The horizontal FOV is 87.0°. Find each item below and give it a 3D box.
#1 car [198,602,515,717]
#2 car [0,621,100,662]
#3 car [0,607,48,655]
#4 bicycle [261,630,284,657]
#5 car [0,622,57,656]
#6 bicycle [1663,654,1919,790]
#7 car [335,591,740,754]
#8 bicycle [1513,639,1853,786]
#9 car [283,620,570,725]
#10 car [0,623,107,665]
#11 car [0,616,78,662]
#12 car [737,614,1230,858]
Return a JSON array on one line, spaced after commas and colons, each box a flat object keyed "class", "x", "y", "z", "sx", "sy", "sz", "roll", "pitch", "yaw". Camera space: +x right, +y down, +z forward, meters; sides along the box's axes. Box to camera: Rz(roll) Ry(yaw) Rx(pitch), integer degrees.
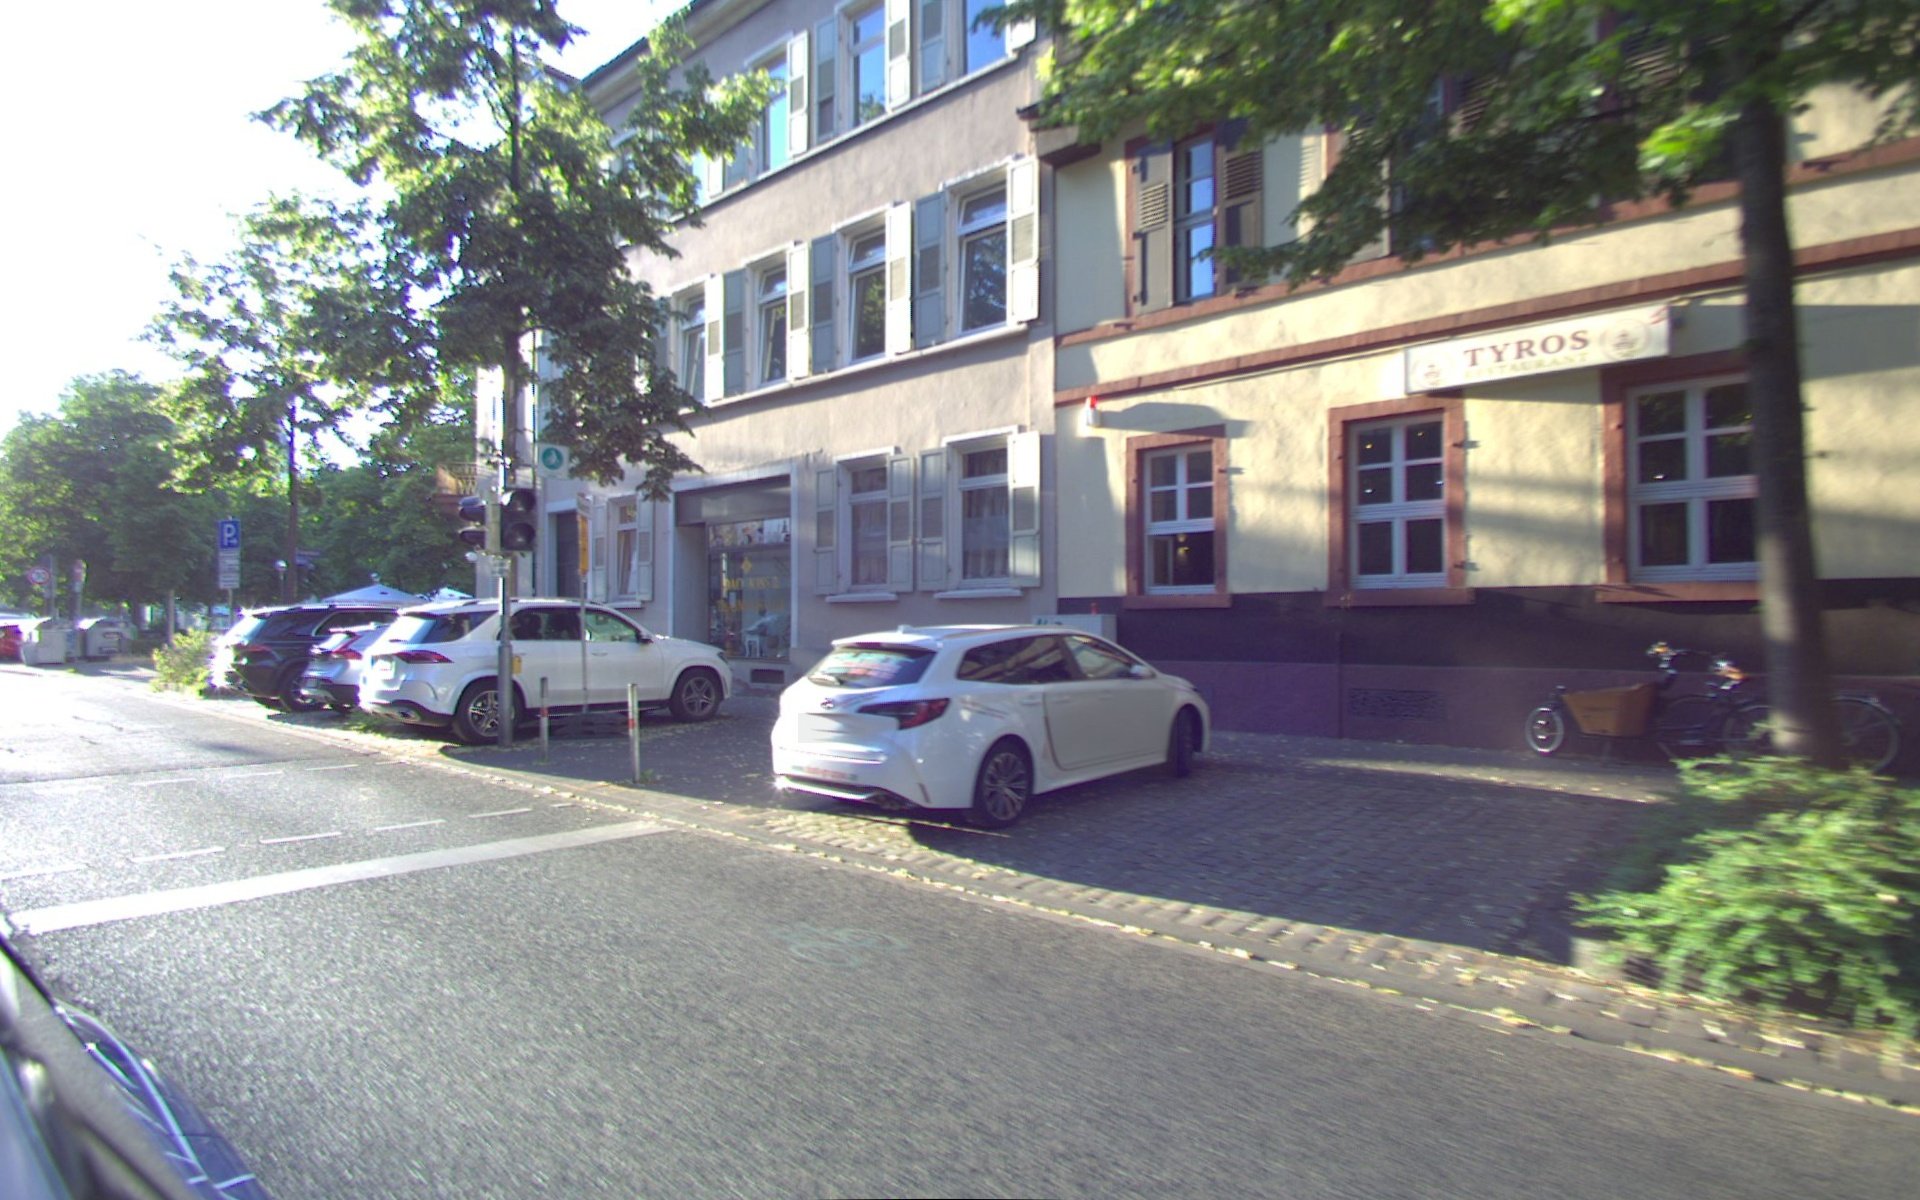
[{"class": "car", "x": -10.673, "y": 0.972, "z": 18.200, "sx": 1.945, "sy": 1.796, "sz": 4.509, "roll": -1, "pitch": -1, "yaw": 40}, {"class": "car", "x": -38.698, "y": 1.703, "z": 42.051, "sx": 1.876, "sy": 1.645, "sz": 4.566, "roll": 0, "pitch": -2, "yaw": 3}, {"class": "car", "x": -49.079, "y": 1.558, "z": 50.637, "sx": 2.136, "sy": 2.376, "sz": 4.755, "roll": -1, "pitch": -2, "yaw": 13}, {"class": "bicycle", "x": -27.572, "y": 1.746, "z": 40.585, "sx": 0.573, "sy": 1.041, "sz": 1.861, "roll": -1, "pitch": -3, "yaw": -28}, {"class": "car", "x": -46.647, "y": 1.869, "z": 48.586, "sx": 2.114, "sy": 1.594, "sz": 4.553, "roll": -1, "pitch": -2, "yaw": 12}, {"class": "bicycle", "x": 7.087, "y": 0.984, "z": 8.591, "sx": 0.613, "sy": 0.997, "sz": 1.734, "roll": -1, "pitch": -1, "yaw": -45}, {"class": "car", "x": -5.536, "y": 0.816, "z": 13.767, "sx": 2.052, "sy": 1.825, "sz": 4.657, "roll": -2, "pitch": -1, "yaw": 42}, {"class": "bicycle", "x": 6.338, "y": 0.919, "z": 9.012, "sx": 0.702, "sy": 1.107, "sz": 2.365, "roll": -1, "pitch": -1, "yaw": -45}, {"class": "car", "x": -8.593, "y": 1.086, "z": 16.524, "sx": 1.820, "sy": 1.472, "sz": 3.775, "roll": -2, "pitch": -2, "yaw": 42}, {"class": "car", "x": -36.250, "y": 1.680, "z": 39.554, "sx": 1.790, "sy": 1.569, "sz": 4.566, "roll": 0, "pitch": -2, "yaw": 3}, {"class": "car", "x": -41.348, "y": 1.672, "z": 43.985, "sx": 1.876, "sy": 1.948, "sz": 4.566, "roll": 0, "pitch": -2, "yaw": 3}, {"class": "car", "x": 0.453, "y": 0.889, "z": 8.549, "sx": 1.821, "sy": 1.434, "sz": 4.337, "roll": -2, "pitch": -1, "yaw": 41}]
